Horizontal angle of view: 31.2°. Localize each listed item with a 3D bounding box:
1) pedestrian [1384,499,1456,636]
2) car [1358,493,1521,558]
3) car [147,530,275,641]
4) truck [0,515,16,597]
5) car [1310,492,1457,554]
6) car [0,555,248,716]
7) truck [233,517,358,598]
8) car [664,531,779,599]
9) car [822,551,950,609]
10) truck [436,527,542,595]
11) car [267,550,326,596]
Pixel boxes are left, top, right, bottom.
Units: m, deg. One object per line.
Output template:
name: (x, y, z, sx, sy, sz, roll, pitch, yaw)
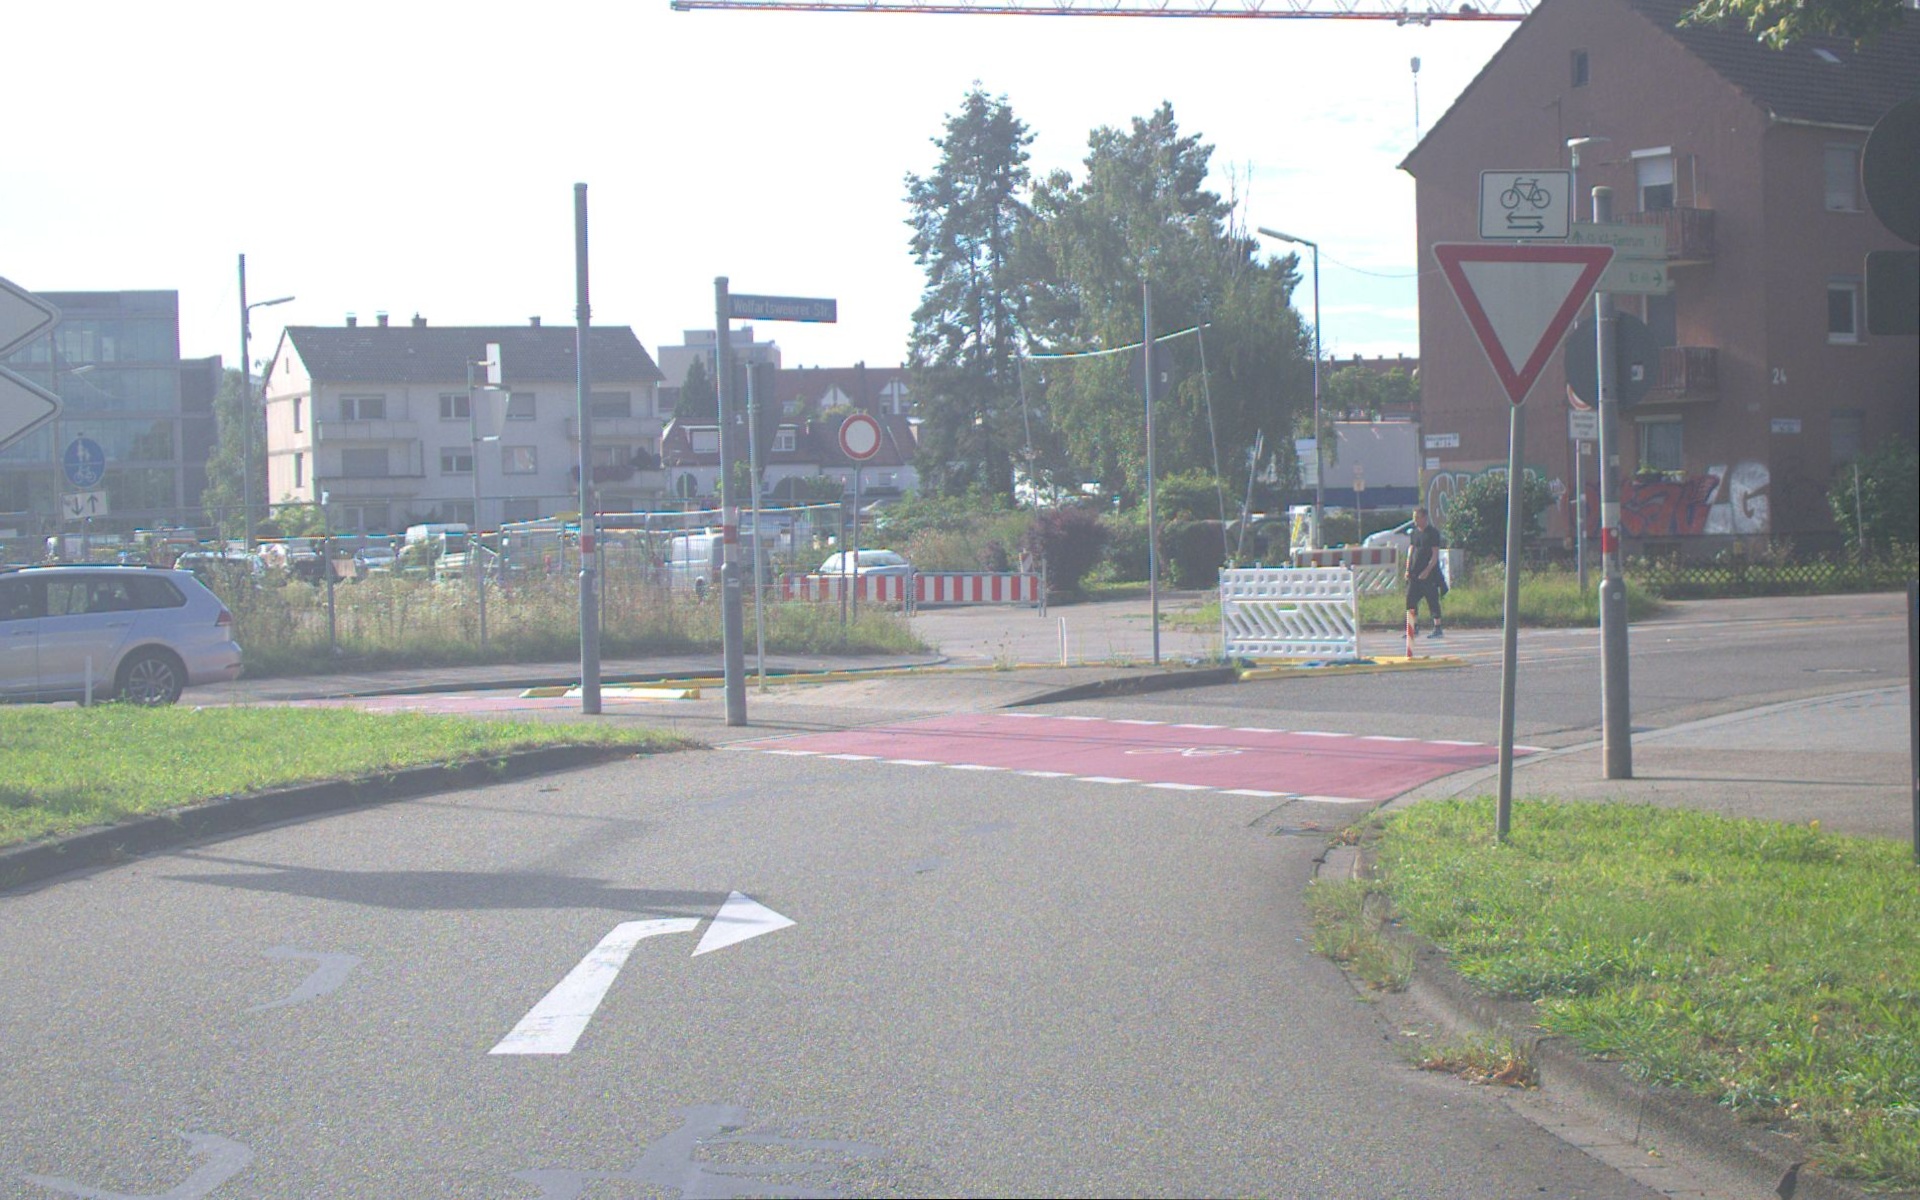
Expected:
pedestrian: (6.382, -0.452, 47.683, 0.668, 1.864, 0.834, 0, 1, 33)
car: (12.525, -1.939, 89.716, 3.990, 1.612, 1.772, -1, 1, 16)
car: (-12.915, -0.283, 59.452, 1.879, 1.809, 4.001, -1, 1, -9)
truck: (-29.232, -1.267, 99.779, 2.327, 2.320, 6.454, -2, 1, -26)
car: (11.763, -2.135, 95.628, 3.988, 1.612, 1.773, -1, 1, 5)
car: (-9.324, 0.344, 32.936, 4.527, 1.447, 1.824, -2, 1, -32)
truck: (-20.065, -1.282, 103.617, 2.285, 2.320, 5.640, -2, 1, -26)
car: (-6.677, -0.977, 96.032, 1.879, 1.809, 4.001, -2, 1, -25)
car: (-1.870, -0.516, 85.849, 1.715, 1.388, 4.001, -2, 1, -25)
truck: (-15.806, -1.310, 115.140, 1.974, 2.164, 5.407, -2, 1, -25)
car: (-27.465, -1.132, 142.242, 1.993, 1.853, 4.001, -2, 1, -16)
